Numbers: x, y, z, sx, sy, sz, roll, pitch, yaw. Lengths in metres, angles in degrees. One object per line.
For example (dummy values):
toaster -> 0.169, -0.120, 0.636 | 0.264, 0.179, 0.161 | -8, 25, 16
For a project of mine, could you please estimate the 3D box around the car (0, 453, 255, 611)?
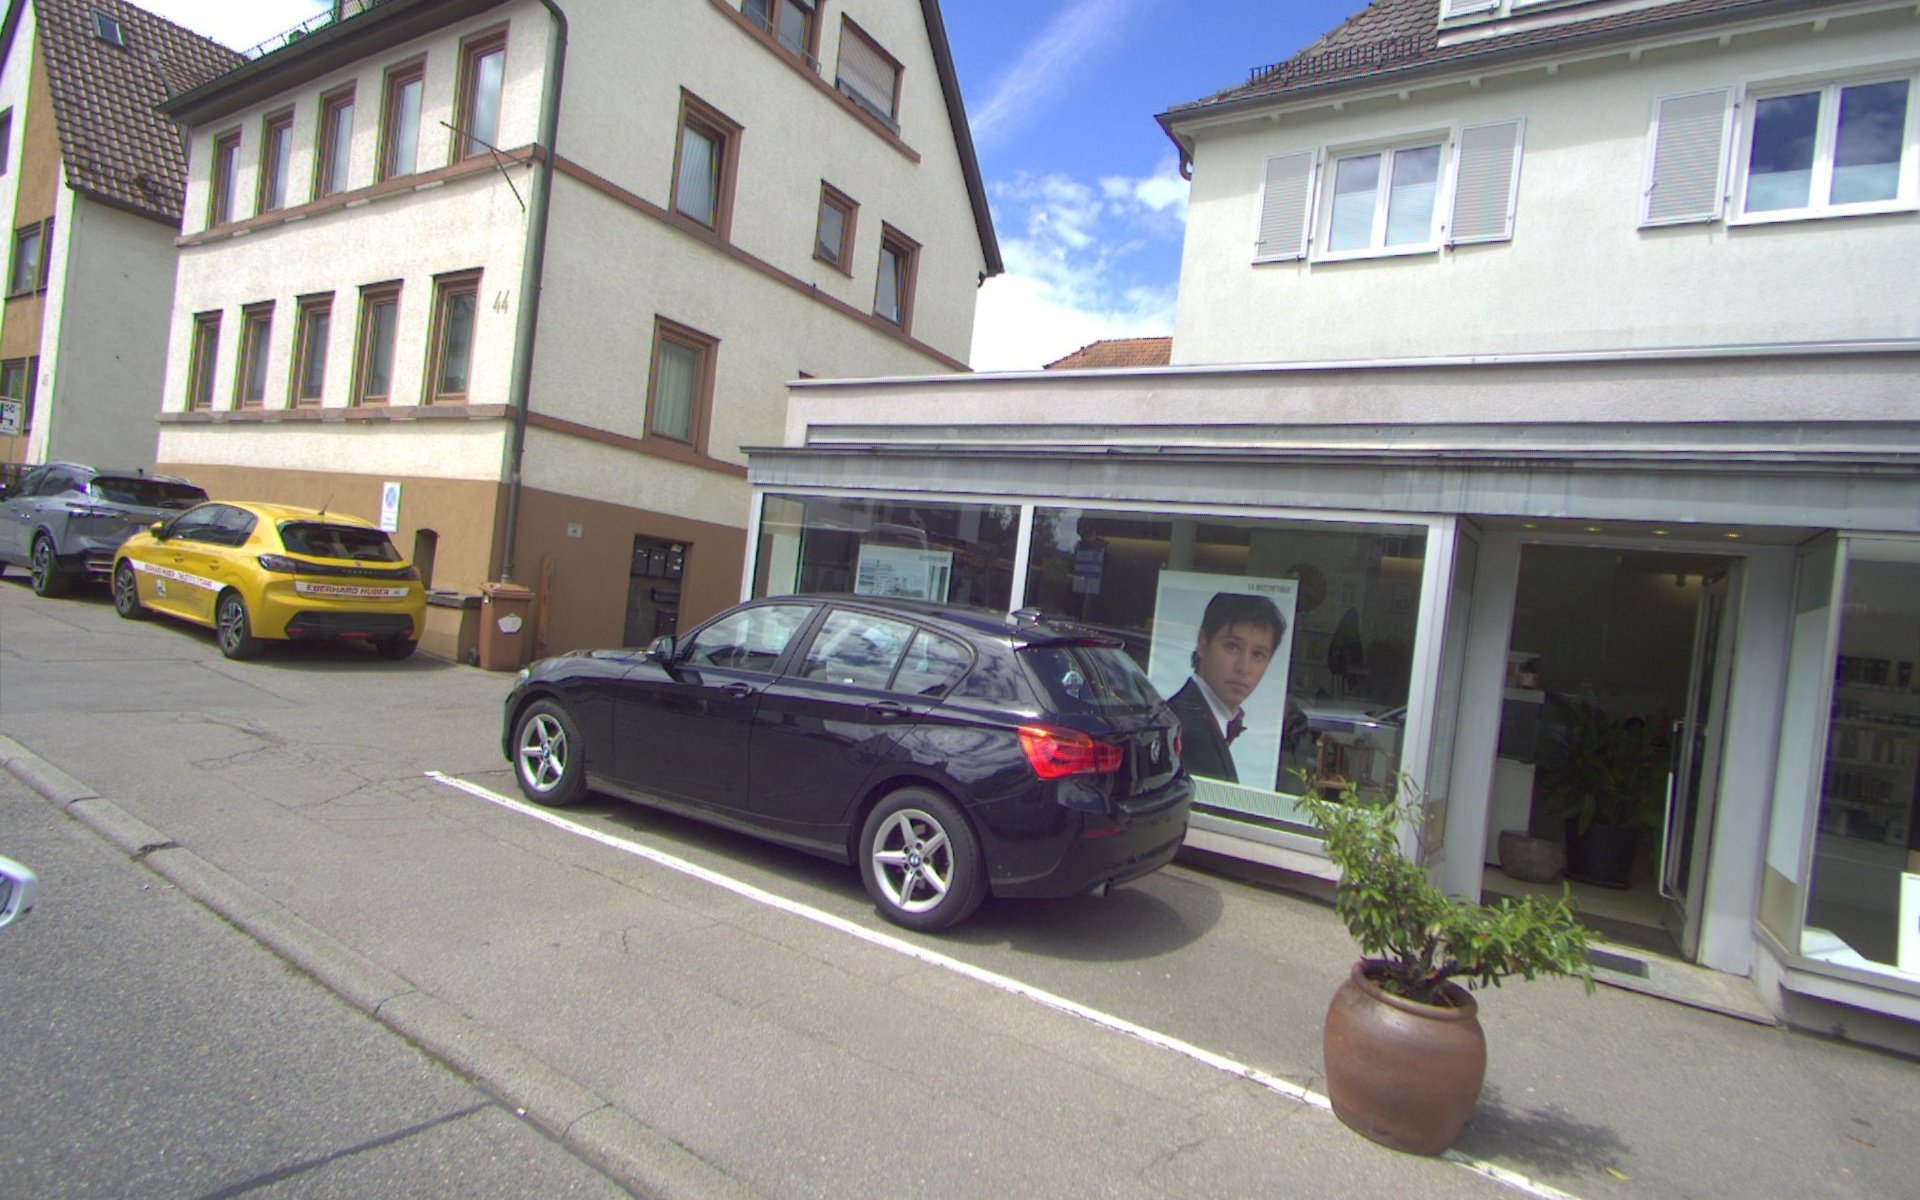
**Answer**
car -> -11.428, -0.955, 13.282 | 4.511, 1.633, 1.861 | 7, 2, 33

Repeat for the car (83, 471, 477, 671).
car -> -7.419, -0.340, 10.874 | 4.235, 1.466, 1.879 | 10, 2, 32

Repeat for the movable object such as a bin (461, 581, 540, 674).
movable object such as a bin -> -5.037, 0.302, 11.029 | 0.589, 0.936, 0.500 | 7, 1, 37

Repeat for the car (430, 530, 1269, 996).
car -> -0.788, 0.600, 5.823 | 4.460, 1.466, 1.970 | 7, 1, 32
